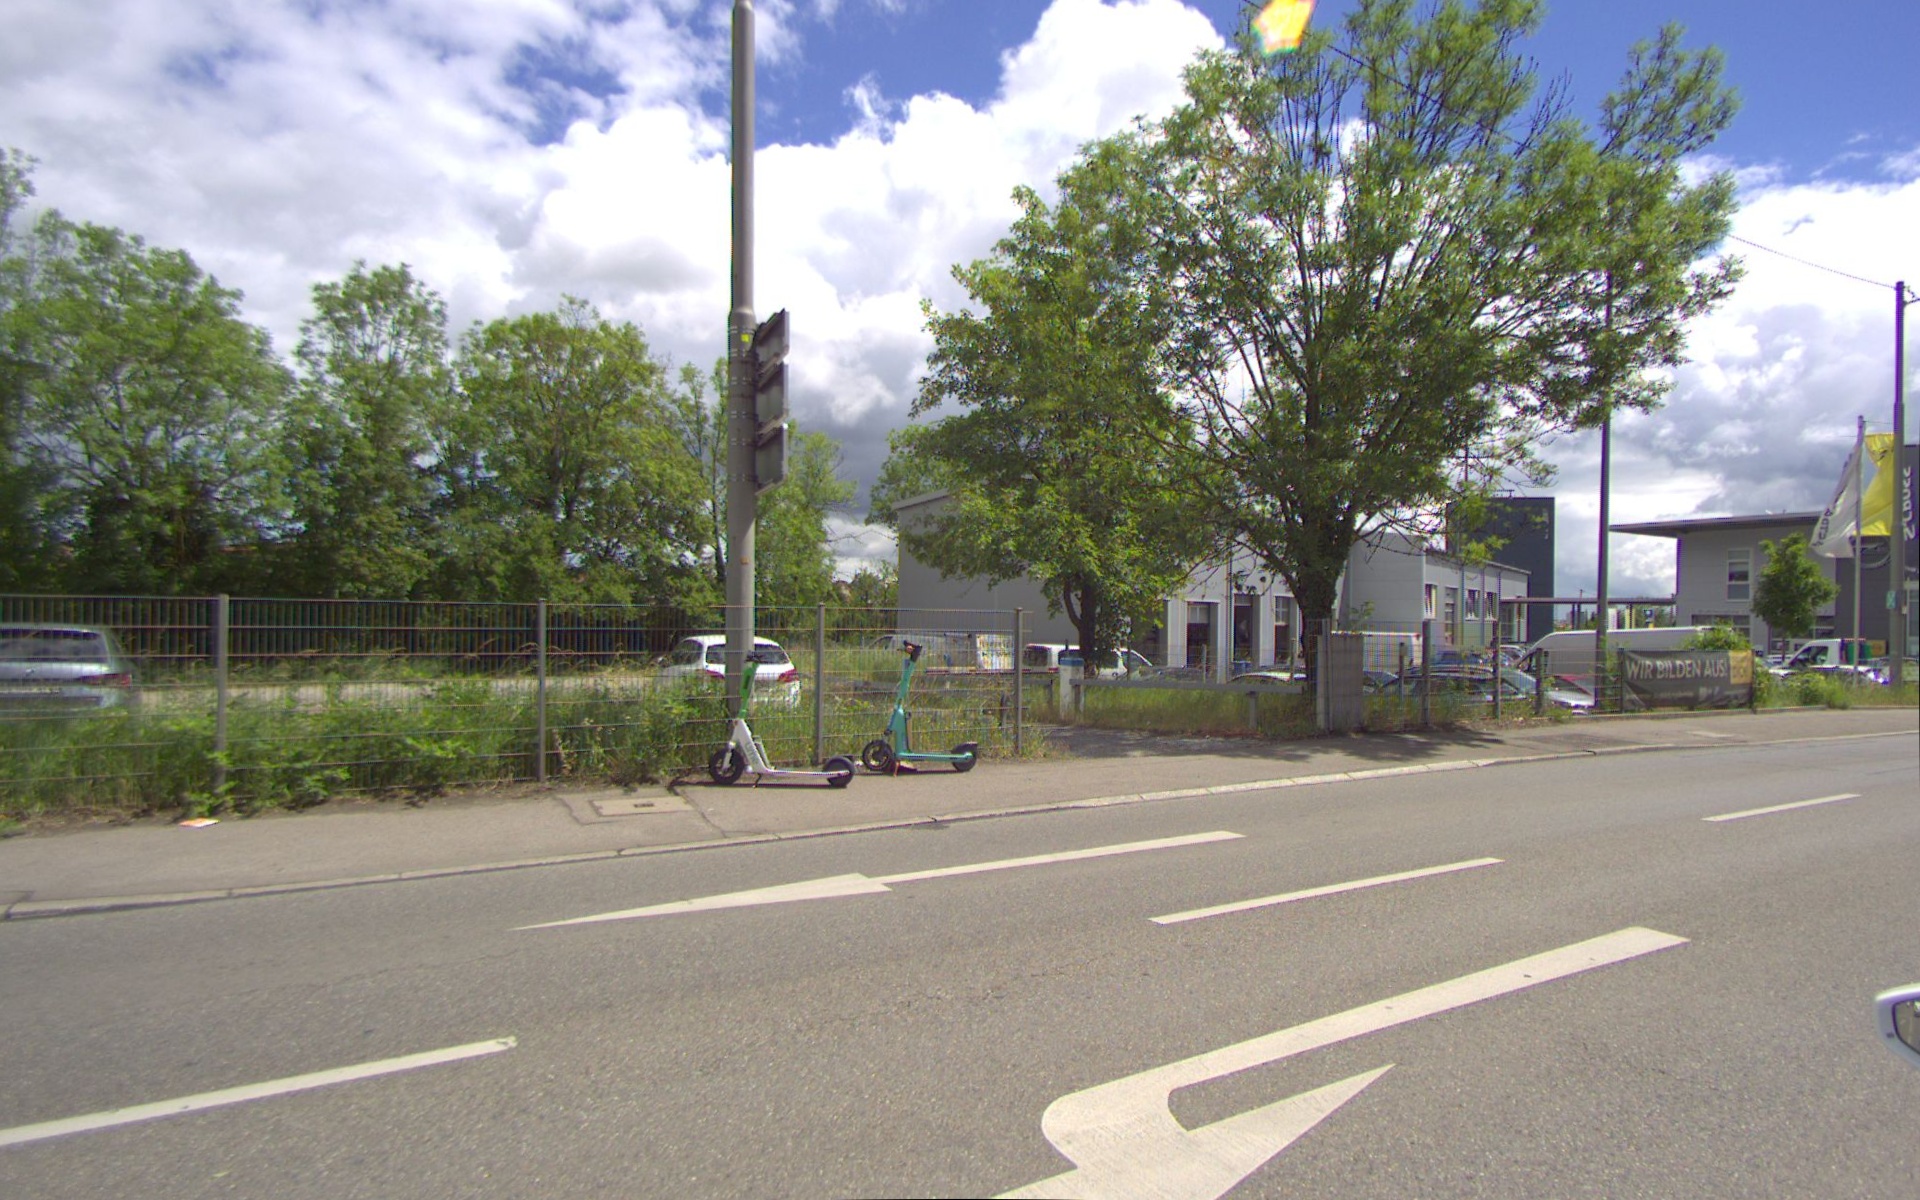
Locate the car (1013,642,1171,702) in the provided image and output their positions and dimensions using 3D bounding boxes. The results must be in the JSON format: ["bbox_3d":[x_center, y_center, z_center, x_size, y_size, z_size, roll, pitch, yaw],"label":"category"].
[{"bbox_3d":[4.232,2.259,32.008,4.855,1.751,1.829,2,-2,-29],"label":"car"}]

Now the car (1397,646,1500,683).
[{"bbox_3d":[23.629,3.096,48.590,4.174,1.516,1.921,1,-2,37],"label":"car"}]

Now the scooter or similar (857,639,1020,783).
[{"bbox_3d":[-0.198,1.034,9.663,1.452,1.283,0.533,1,1,-25],"label":"scooter or similar"}]

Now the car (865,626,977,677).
[{"bbox_3d":[-1.499,1.909,37.985,4.113,1.751,1.833,0,-2,41],"label":"car"}]

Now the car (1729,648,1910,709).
[{"bbox_3d":[26.668,2.421,31.295,1.906,1.630,3.867,3,-2,-30],"label":"car"}]

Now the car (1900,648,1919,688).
[{"bbox_3d":[43.730,3.024,43.524,1.973,1.728,3.976,1,-1,-24],"label":"car"}]

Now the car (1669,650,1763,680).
[{"bbox_3d":[40.579,3.466,53.950,1.829,1.416,3.671,1,-1,-35],"label":"car"}]

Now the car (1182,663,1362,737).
[{"bbox_3d":[7.376,2.340,24.124,1.803,1.404,4.016,3,-2,-28],"label":"car"}]

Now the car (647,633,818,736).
[{"bbox_3d":[-3.846,1.275,16.416,1.841,1.399,4.264,2,-2,-25],"label":"car"}]

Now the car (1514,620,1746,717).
[{"bbox_3d":[15.956,1.536,24.117,2.174,2.040,4.137,1,-1,-32],"label":"car"}]

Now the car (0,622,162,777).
[{"bbox_3d":[-10.697,1.044,11.834,1.894,1.506,4.244,2,-2,-38],"label":"car"}]

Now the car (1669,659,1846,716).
[{"bbox_3d":[22.472,2.436,28.429,1.689,1.342,3.533,3,-2,-26],"label":"car"}]

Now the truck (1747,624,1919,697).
[{"bbox_3d":[29.177,1.925,32.145,2.450,2.175,5.828,4,-3,-32],"label":"truck"}]

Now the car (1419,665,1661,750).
[{"bbox_3d":[12.099,2.203,21.217,1.905,1.404,4.016,3,-2,-28],"label":"car"}]

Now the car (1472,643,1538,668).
[{"bbox_3d":[34.954,3.520,64.480,3.429,1.416,1.654,0,-1,42],"label":"car"}]

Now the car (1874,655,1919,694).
[{"bbox_3d":[39.952,3.081,40.645,1.974,1.511,3.972,1,-1,-27],"label":"car"}]

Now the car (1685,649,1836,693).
[{"bbox_3d":[30.145,2.660,37.936,1.805,1.542,4.060,1,-3,-31],"label":"car"}]

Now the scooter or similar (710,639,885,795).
[{"bbox_3d":[-1.427,1.007,8.828,1.446,1.279,0.535,2,0,-13],"label":"scooter or similar"}]

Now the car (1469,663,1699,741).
[{"bbox_3d":[14.079,2.248,22.879,1.907,1.404,4.012,4,-2,-31],"label":"car"}]

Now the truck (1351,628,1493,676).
[{"bbox_3d":[23.820,2.663,51.910,6.218,2.258,2.690,0,-3,40],"label":"truck"}]

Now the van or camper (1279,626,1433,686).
[{"bbox_3d":[17.252,2.378,43.954,5.816,2.386,2.490,0,-1,42],"label":"van or camper"}]
